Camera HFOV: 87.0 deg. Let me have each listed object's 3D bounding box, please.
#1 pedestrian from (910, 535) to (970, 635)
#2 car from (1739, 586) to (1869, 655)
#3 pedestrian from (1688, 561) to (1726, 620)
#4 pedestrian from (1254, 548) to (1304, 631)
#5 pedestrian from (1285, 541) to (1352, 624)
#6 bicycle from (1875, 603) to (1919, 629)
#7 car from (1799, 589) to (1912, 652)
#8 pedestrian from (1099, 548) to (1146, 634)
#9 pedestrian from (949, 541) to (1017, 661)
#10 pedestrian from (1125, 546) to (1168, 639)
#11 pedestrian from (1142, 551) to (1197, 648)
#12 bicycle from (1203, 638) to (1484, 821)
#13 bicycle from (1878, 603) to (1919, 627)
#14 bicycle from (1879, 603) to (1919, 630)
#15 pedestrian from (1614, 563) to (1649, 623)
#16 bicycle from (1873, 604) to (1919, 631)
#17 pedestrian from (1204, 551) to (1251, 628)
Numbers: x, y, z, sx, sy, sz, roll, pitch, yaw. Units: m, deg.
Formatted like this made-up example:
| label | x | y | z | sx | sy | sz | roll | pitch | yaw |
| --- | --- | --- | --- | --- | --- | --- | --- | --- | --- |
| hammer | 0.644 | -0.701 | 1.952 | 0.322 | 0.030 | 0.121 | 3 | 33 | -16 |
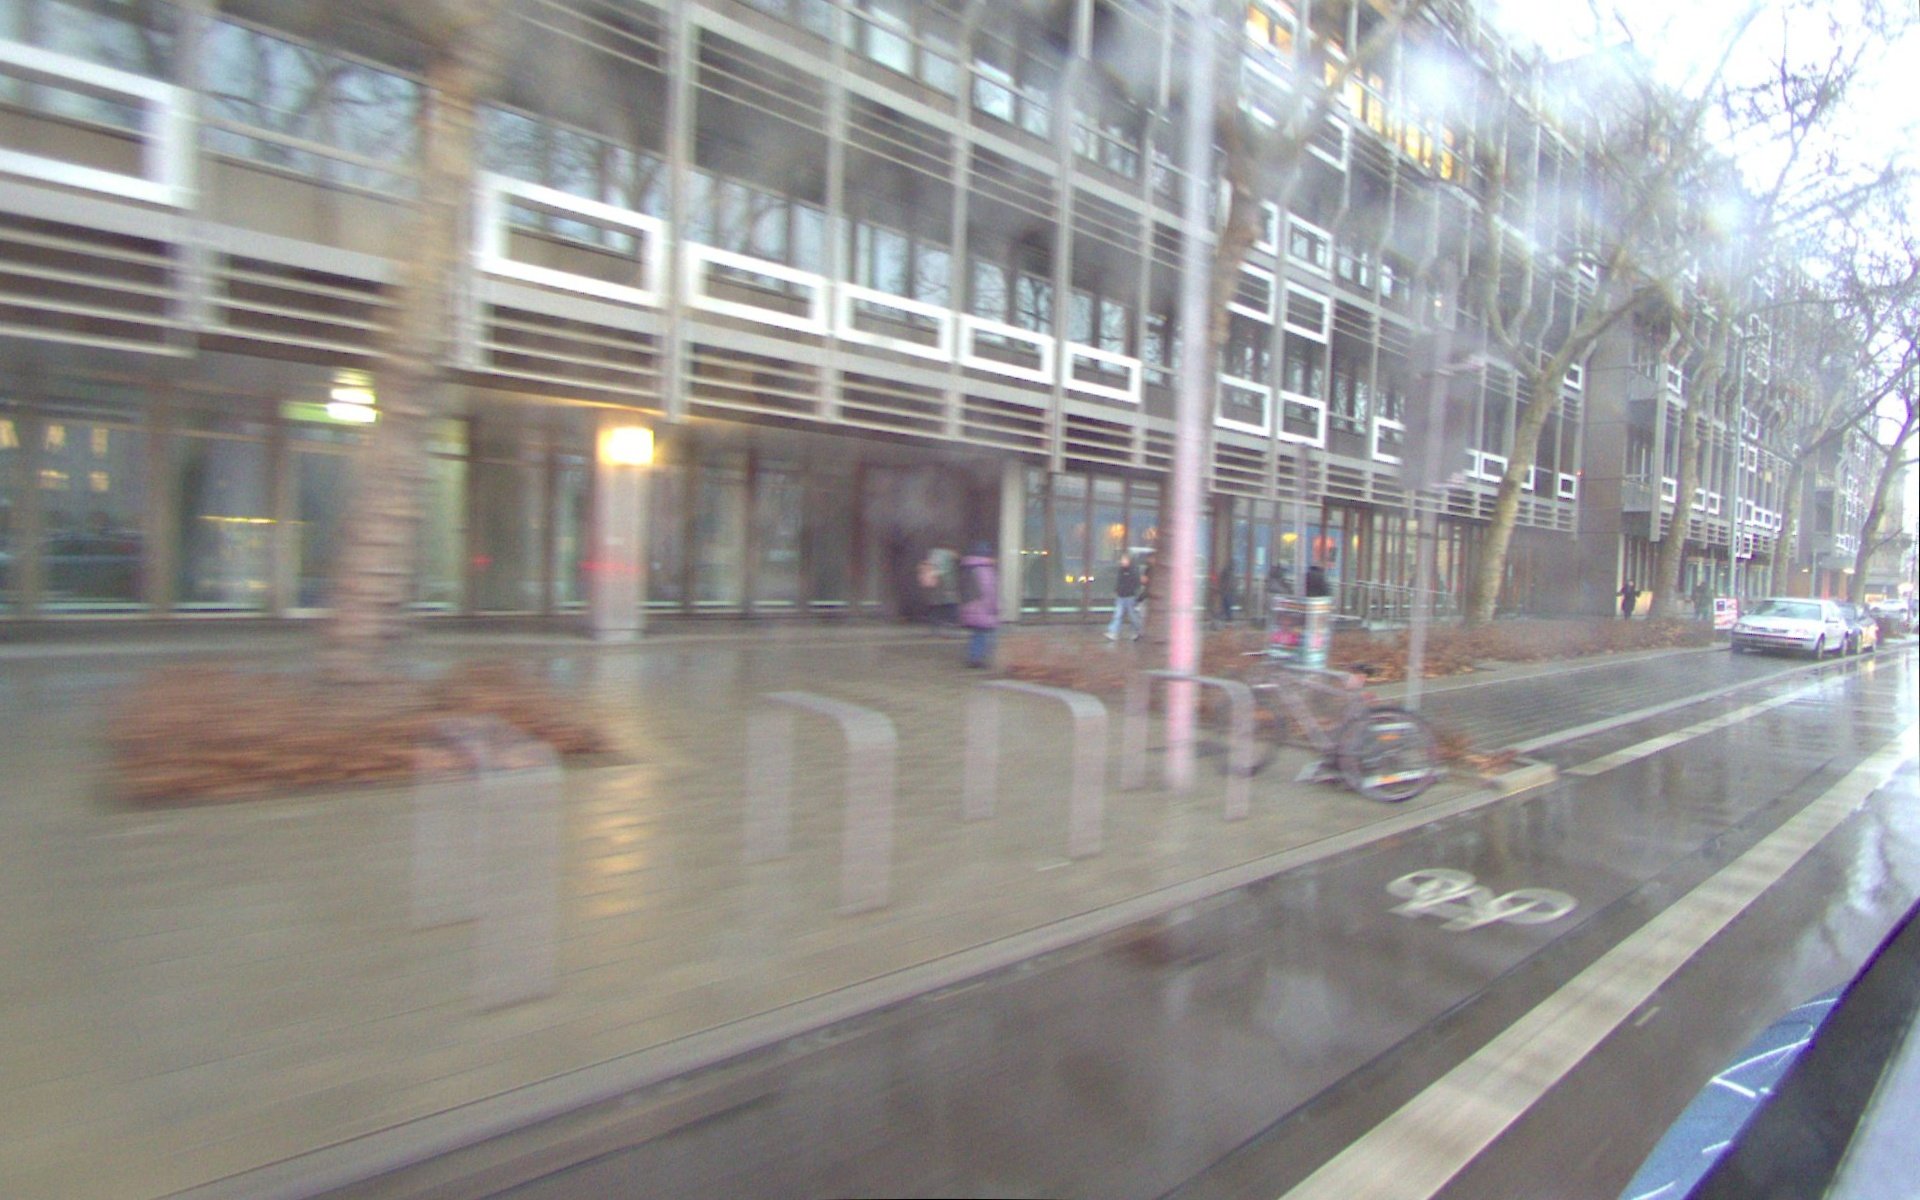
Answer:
| label | x | y | z | sx | sy | sz | roll | pitch | yaw |
| --- | --- | --- | --- | --- | --- | --- | --- | --- | --- |
| pedestrian | -0.340 | -0.266 | 17.387 | 0.766 | 1.676 | 0.617 | 0 | 2 | -39 |
| car | 20.949 | 0.455 | 25.079 | 3.858 | 1.449 | 1.610 | 0 | 5 | -38 |
| pedestrian | 26.289 | -0.328 | 35.617 | 1.006 | 2.038 | 0.791 | 1 | 2 | -40 |
| pedestrian | 6.846 | -0.236 | 21.730 | 0.829 | 1.739 | 0.659 | 0 | 2 | -45 |
| pedestrian | 6.905 | -0.349 | 19.510 | 0.823 | 1.542 | 0.866 | 0 | 2 | -39 |
| bicycle | 39.756 | 0.676 | 42.810 | 1.518 | 1.049 | 0.462 | 1 | 1 | 44 |
| car | 25.127 | 0.538 | 28.363 | 3.948 | 1.567 | 1.764 | 0 | 2 | -40 |
| pedestrian | 3.072 | -0.168 | 19.118 | 0.732 | 1.583 | 0.484 | 0 | 2 | -41 |
| pedestrian | 0.304 | -0.001 | 13.575 | 0.604 | 1.563 | 0.650 | 0 | 2 | -38 |
| pedestrian | 3.456 | -0.148 | 18.732 | 0.701 | 1.688 | 0.379 | 0 | 2 | -39 |
| pedestrian | 3.780 | -0.017 | 18.231 | 0.857 | 1.688 | 0.501 | 0 | 2 | -39 |
| bicycle | 2.725 | 0.863 | 7.361 | 0.607 | 0.985 | 1.790 | 0 | 4 | -43 |
| bicycle | 41.878 | 0.665 | 45.009 | 1.518 | 1.049 | 0.462 | 1 | 1 | 44 |
| bicycle | 38.903 | 0.689 | 41.696 | 1.518 | 1.049 | 0.462 | 1 | 1 | 44 |
| pedestrian | 23.638 | -0.257 | 35.627 | 0.723 | 2.038 | 0.822 | 1 | 2 | -41 |
| bicycle | 37.769 | 0.694 | 40.711 | 1.518 | 1.049 | 0.462 | 1 | 1 | 44 |
| pedestrian | 5.999 | -0.246 | 22.725 | 0.829 | 1.675 | 0.640 | 0 | 2 | -45 |
